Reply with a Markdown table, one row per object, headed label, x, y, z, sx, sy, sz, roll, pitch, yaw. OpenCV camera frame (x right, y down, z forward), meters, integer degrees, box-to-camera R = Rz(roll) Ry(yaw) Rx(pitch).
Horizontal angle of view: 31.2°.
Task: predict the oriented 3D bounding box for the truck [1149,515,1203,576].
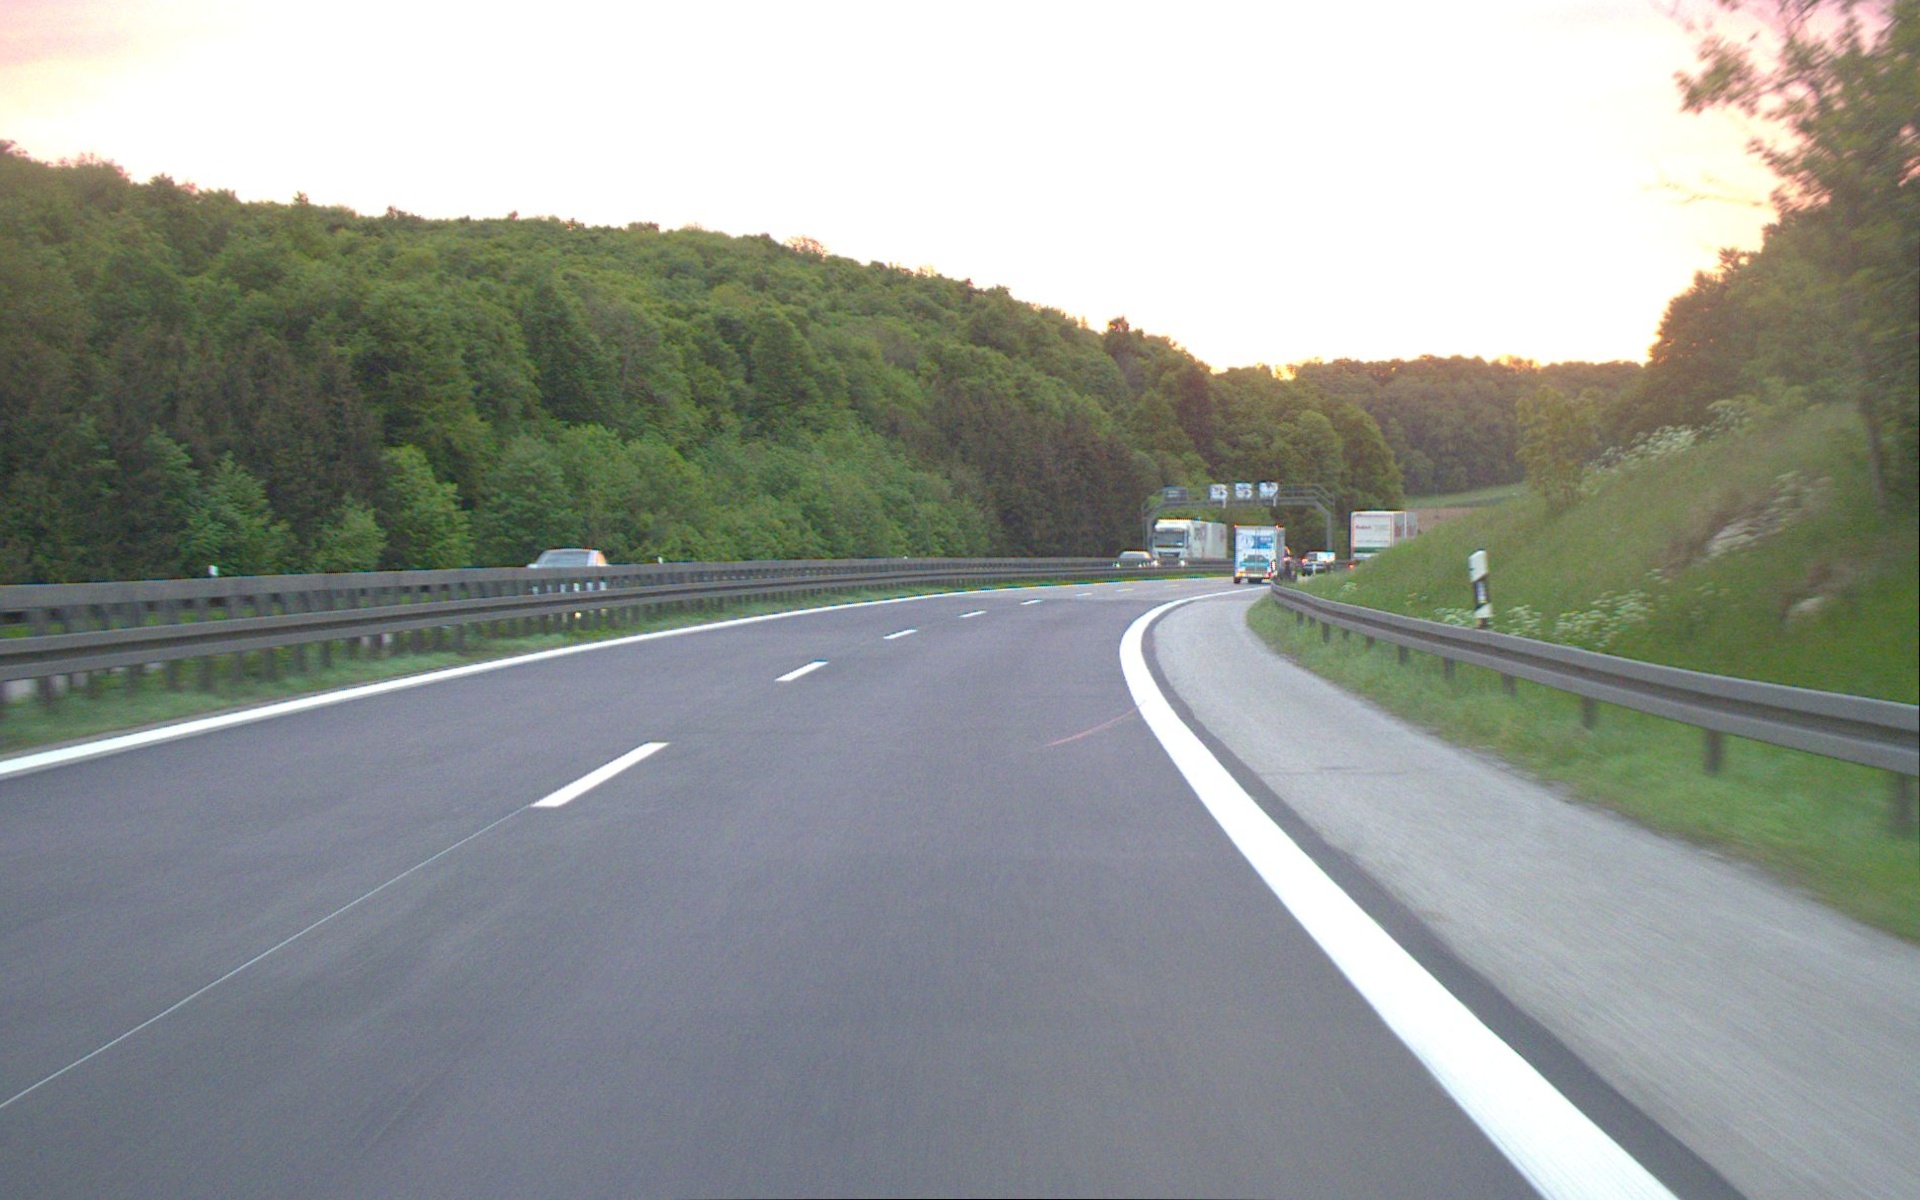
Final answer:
| label | x | y | z | sx | sy | sz | roll | pitch | yaw |
| --- | --- | --- | --- | --- | --- | --- | --- | --- | --- |
| truck | 15.335 | -3.866 | 243.400 | 2.866 | 4.266 | 10.062 | 0 | 1 | 9 |

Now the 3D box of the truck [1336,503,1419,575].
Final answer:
| label | x | y | z | sx | sy | sz | roll | pitch | yaw |
| --- | --- | --- | --- | --- | --- | --- | --- | --- | --- |
| truck | 26.210 | -3.844 | 215.048 | 3.960 | 4.272 | 14.317 | -1 | 1 | 11 |

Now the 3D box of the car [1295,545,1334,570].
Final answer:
| label | x | y | z | sx | sy | sz | roll | pitch | yaw |
| --- | --- | --- | --- | --- | --- | --- | --- | --- | --- |
| car | 22.372 | -2.671 | 216.884 | 1.994 | 1.512 | 3.998 | -1 | 1 | 12 |

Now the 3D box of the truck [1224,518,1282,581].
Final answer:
| label | x | y | z | sx | sy | sz | roll | pitch | yaw |
| --- | --- | --- | --- | --- | --- | --- | --- | --- | --- |
| truck | 13.386 | -2.319 | 157.015 | 2.276 | 2.655 | 5.235 | -2 | 2 | 8 |

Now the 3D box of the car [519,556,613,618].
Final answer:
| label | x | y | z | sx | sy | sz | roll | pitch | yaw |
| --- | --- | --- | --- | --- | --- | --- | --- | --- | --- |
| car | -11.060 | -0.380 | 96.803 | 1.753 | 1.634 | 4.477 | -1 | 1 | 5 |
